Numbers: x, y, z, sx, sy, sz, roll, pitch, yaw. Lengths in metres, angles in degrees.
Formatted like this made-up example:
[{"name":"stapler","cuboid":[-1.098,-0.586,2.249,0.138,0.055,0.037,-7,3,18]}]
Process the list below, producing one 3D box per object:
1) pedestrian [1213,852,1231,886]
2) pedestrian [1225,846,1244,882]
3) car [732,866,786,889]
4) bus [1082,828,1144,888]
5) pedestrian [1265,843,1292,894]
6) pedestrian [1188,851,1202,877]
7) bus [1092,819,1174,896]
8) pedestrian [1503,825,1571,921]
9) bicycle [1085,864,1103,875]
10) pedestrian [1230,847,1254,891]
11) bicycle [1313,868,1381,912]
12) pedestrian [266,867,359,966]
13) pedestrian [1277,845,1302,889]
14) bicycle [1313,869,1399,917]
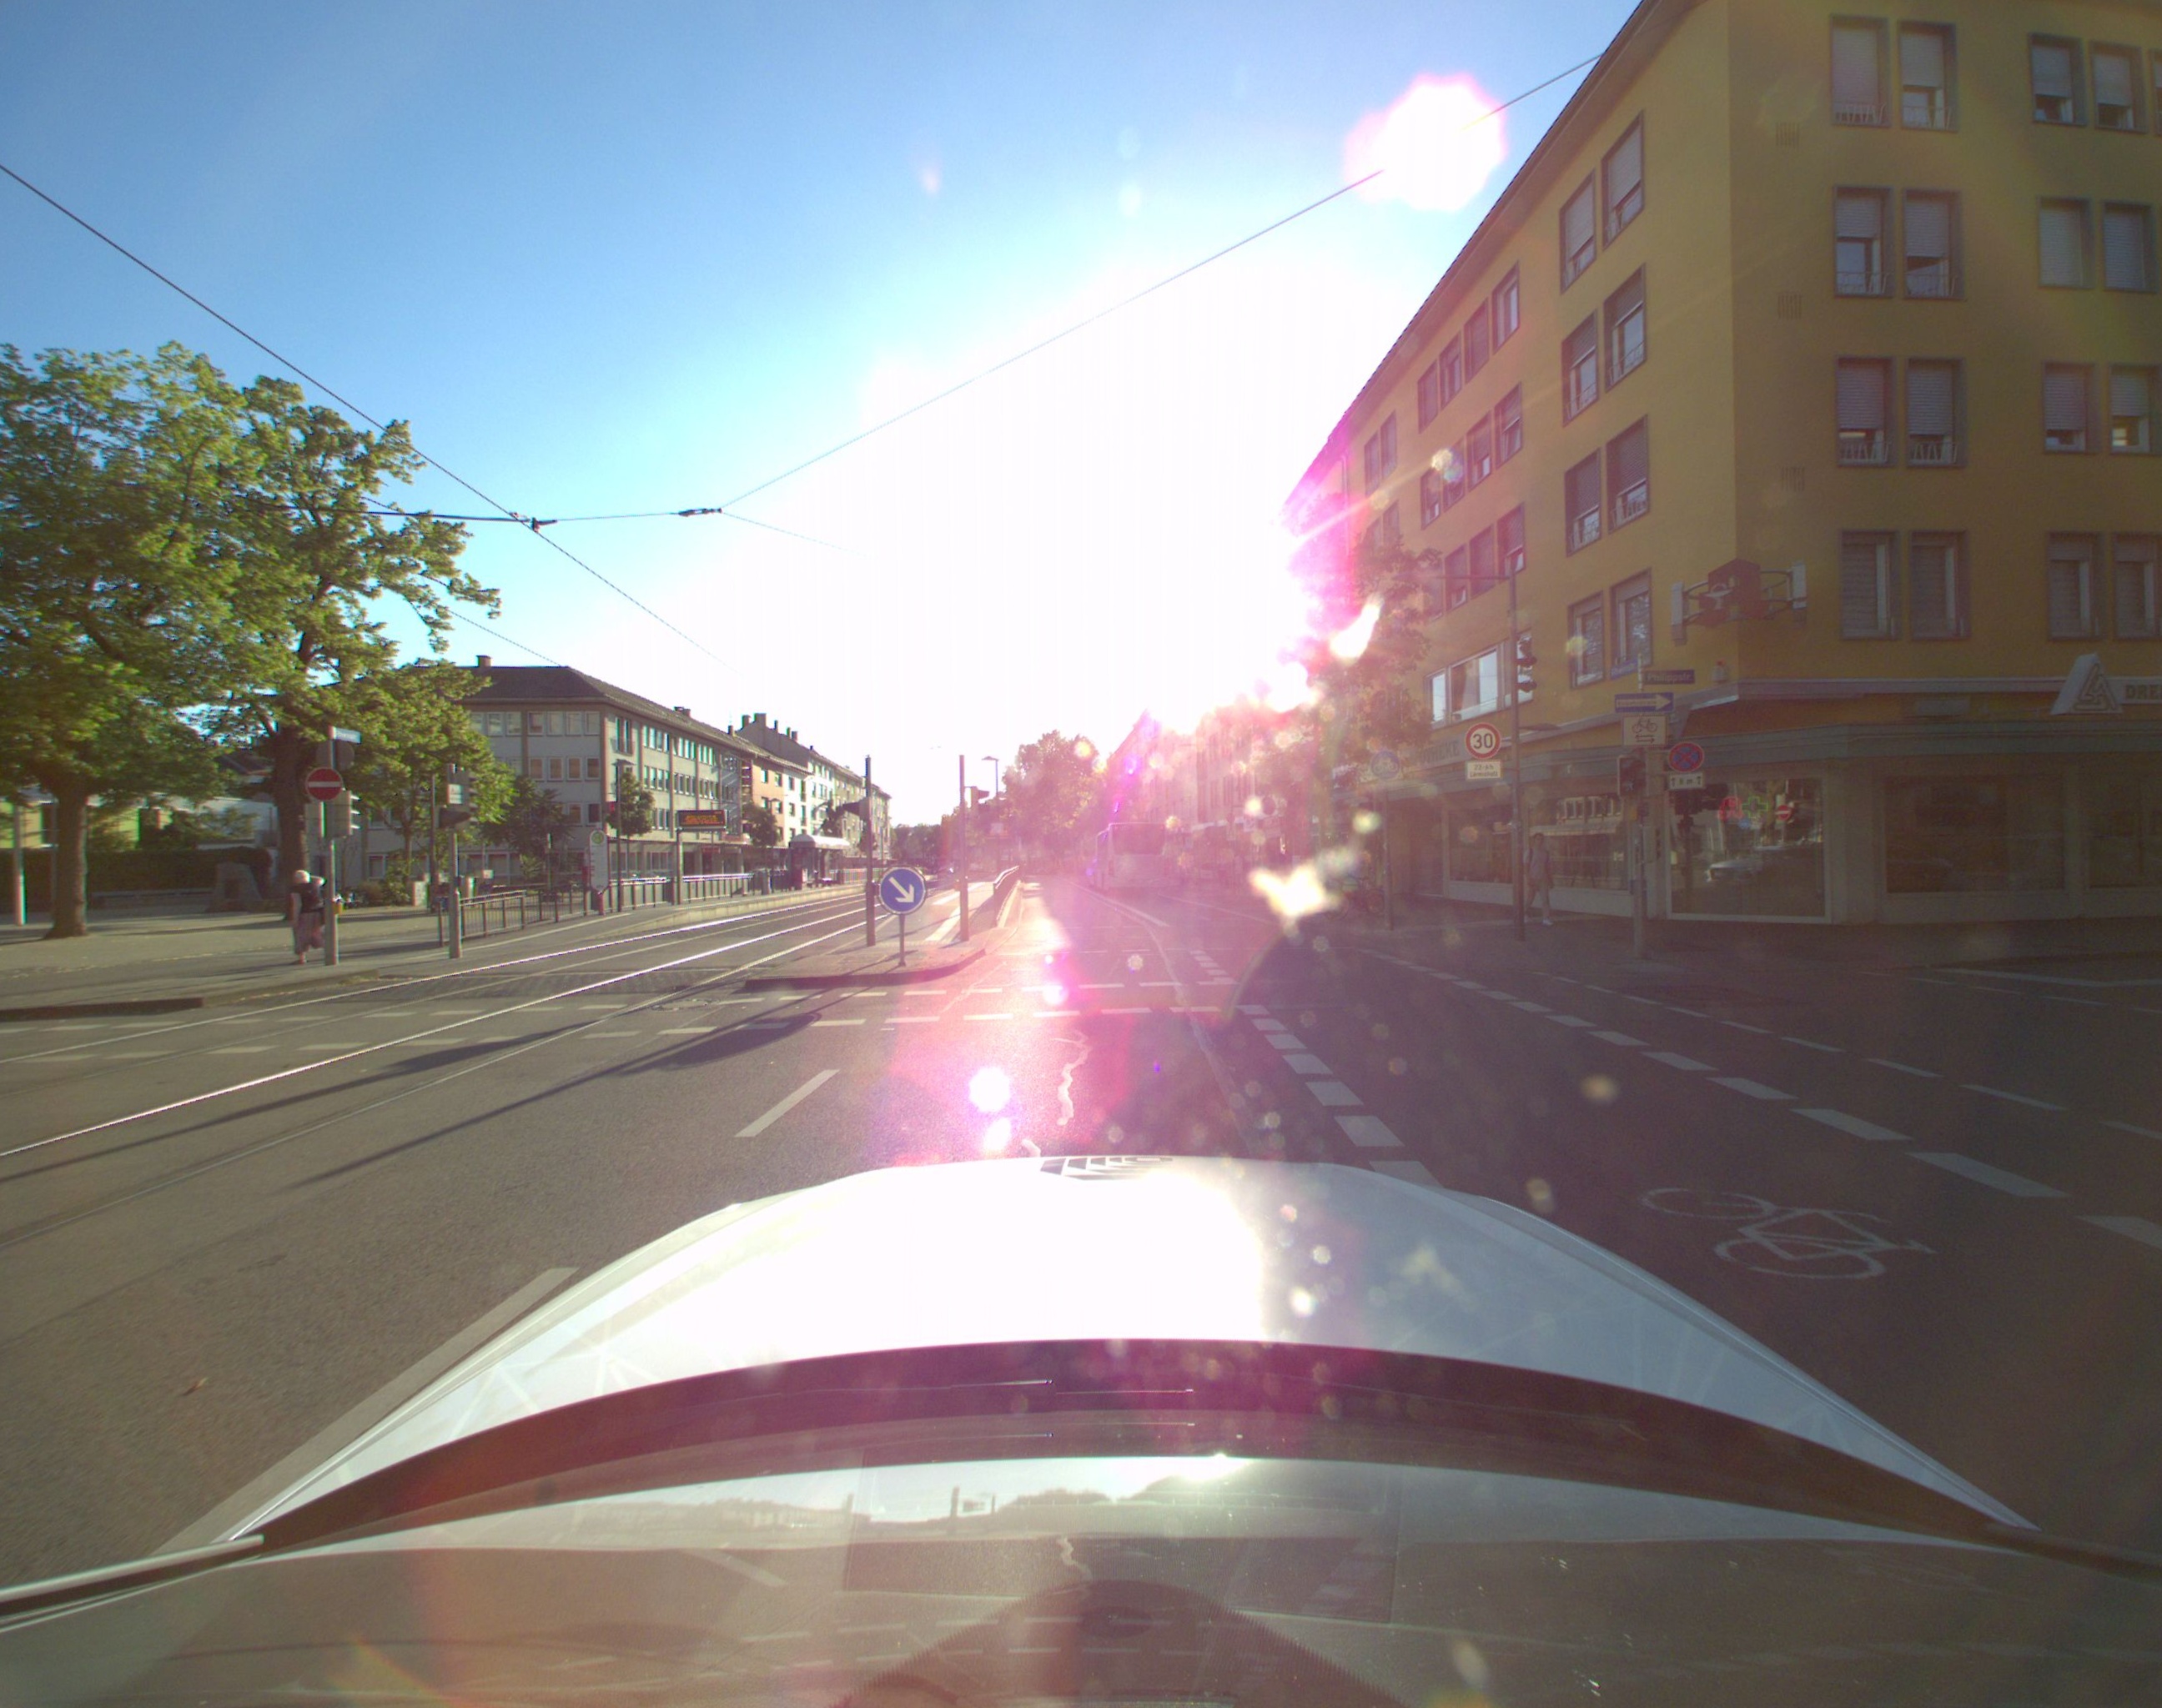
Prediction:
[{"name":"pedestrian","cuboid":[6.711,0.729,38.729,0.609,1.578,0.850,-1,-1,-3]},{"name":"pedestrian","cuboid":[7.857,0.505,41.770,0.722,1.840,0.765,-1,-1,-4]},{"name":"car","cuboid":[-25.017,1.824,63.344,1.748,1.679,3.533,-1,0,34]},{"name":"bus","cuboid":[1.680,0.241,46.905,2.690,3.118,9.059,0,0,-3]},{"name":"pedestrian","cuboid":[7.175,0.517,29.624,0.722,1.807,0.765,-1,-1,-4]},{"name":"pedestrian","cuboid":[7.290,0.641,52.079,0.722,1.632,0.765,-1,0,-4]},{"name":"bus","cuboid":[2.164,0.165,37.734,2.690,3.118,9.370,0,0,-3]},{"name":"pedestrian","cuboid":[8.818,0.359,15.775,0.742,1.780,0.893,-1,-1,-4]},{"name":"bicycle","cuboid":[1.387,1.670,88.523,1.881,1.077,0.754,-5,0,-1]},{"name":"pedestrian","cuboid":[6.648,0.604,33.655,0.722,1.779,0.765,-1,-1,-4]},{"name":"bicycle","cuboid":[6.410,0.860,19.655,1.481,1.008,0.453,-1,0,-7]},{"name":"pedestrian","cuboid":[-14.355,1.144,15.242,0.917,1.760,0.831,-1,-1,-2]},{"name":"pedestrian","cuboid":[8.399,0.535,32.878,0.722,1.723,0.765,-1,-1,-4]},{"name":"bicycle","cuboid":[6.420,0.900,19.037,1.796,1.008,0.540,-3,0,-7]}]
